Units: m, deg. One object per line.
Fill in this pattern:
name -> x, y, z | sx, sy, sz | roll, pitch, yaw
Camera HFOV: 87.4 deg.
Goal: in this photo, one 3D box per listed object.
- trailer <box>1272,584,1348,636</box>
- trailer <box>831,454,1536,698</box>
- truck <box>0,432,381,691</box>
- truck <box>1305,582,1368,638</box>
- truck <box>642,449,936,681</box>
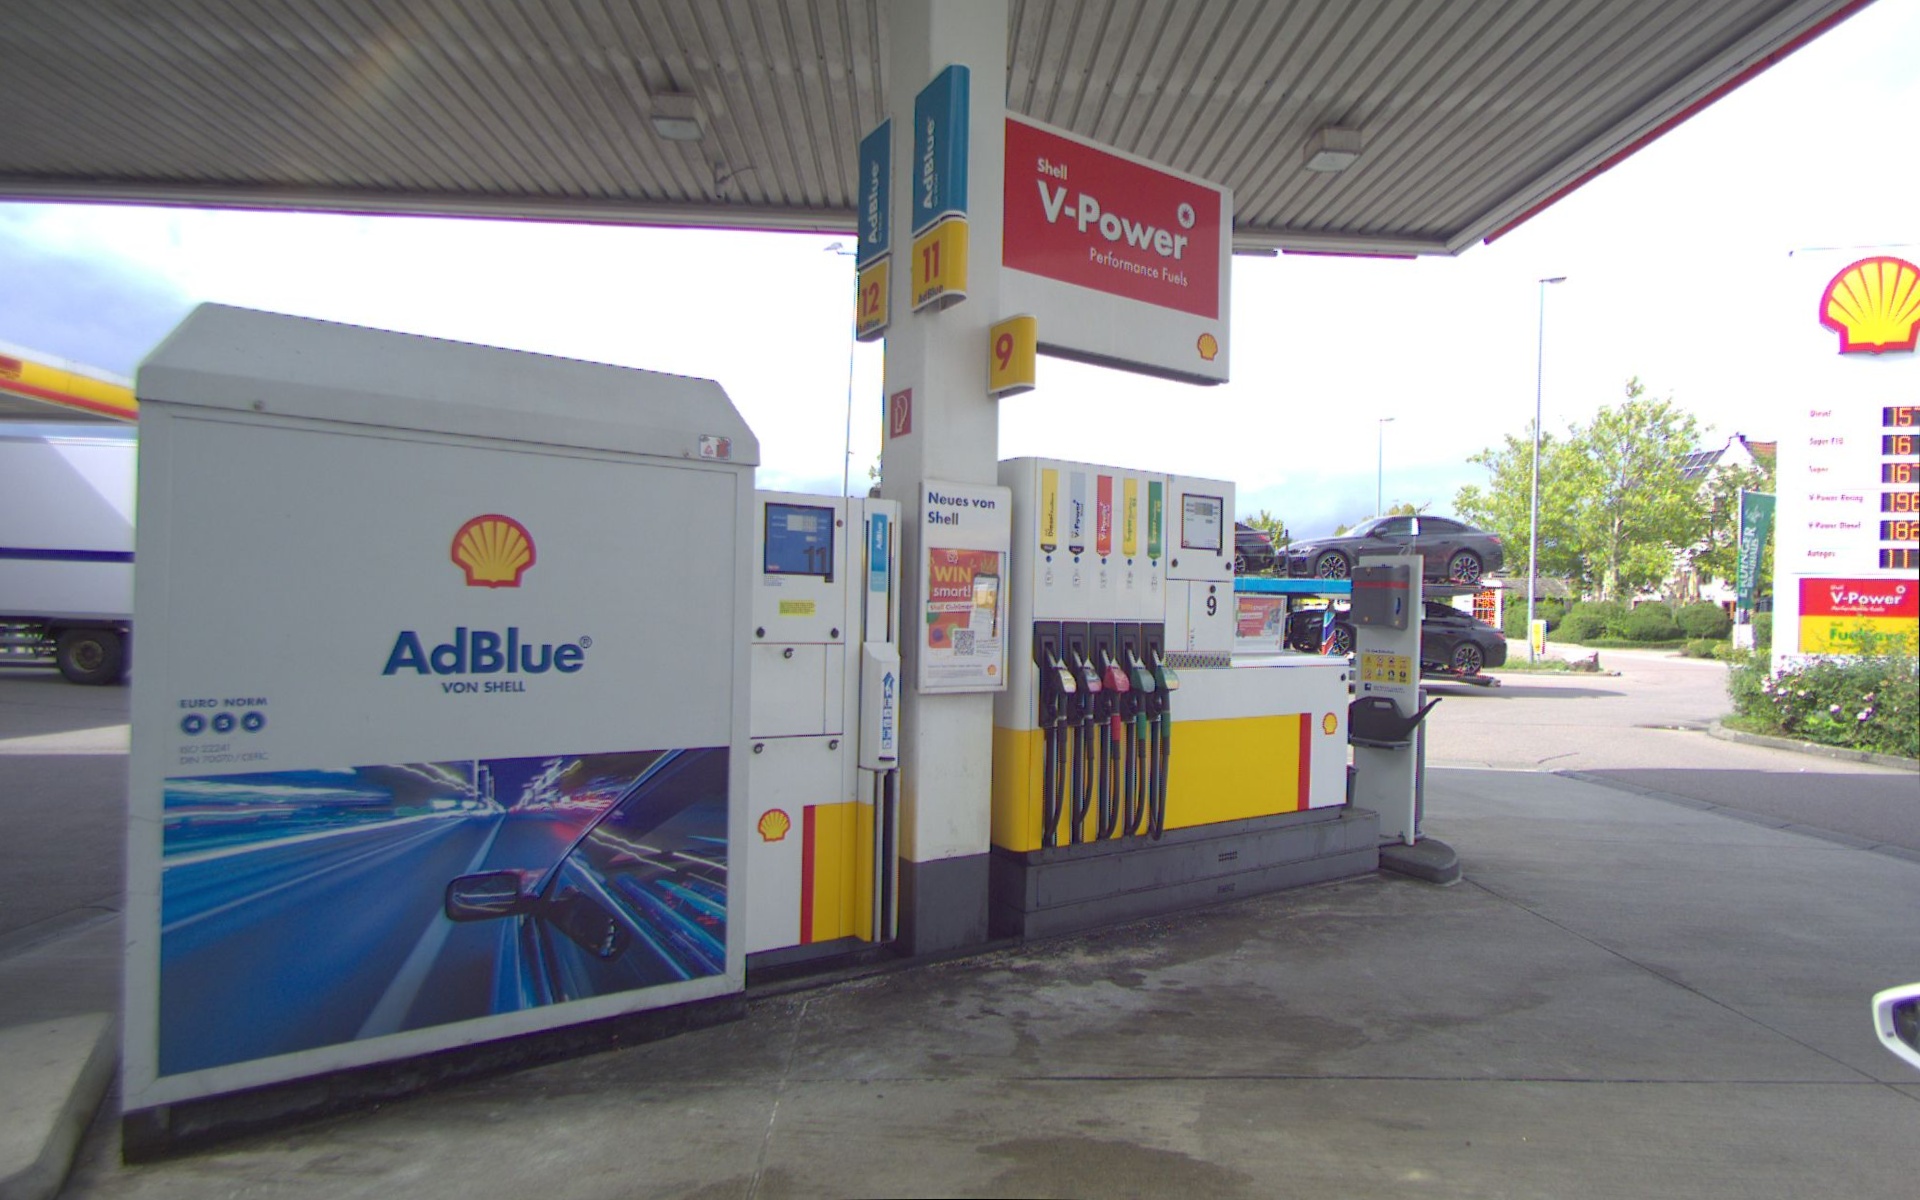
trailer -> 28.295, 0.784, 81.955 | 2.684, 3.826, 12.718 | 2, 0, 5
trailer -> 4.512, -0.463, 21.575 | 14.077, 4.481, 2.746 | 2, 0, 0
truck -> -17.315, -0.734, 17.490 | 12.654, 4.092, 2.534 | 2, 0, -3
truck -> 27.673, 0.724, 74.092 | 2.686, 3.897, 5.921 | 2, 0, 5
truck -> -3.464, -0.699, 21.536 | 5.713, 4.479, 2.750 | 2, 0, 0
